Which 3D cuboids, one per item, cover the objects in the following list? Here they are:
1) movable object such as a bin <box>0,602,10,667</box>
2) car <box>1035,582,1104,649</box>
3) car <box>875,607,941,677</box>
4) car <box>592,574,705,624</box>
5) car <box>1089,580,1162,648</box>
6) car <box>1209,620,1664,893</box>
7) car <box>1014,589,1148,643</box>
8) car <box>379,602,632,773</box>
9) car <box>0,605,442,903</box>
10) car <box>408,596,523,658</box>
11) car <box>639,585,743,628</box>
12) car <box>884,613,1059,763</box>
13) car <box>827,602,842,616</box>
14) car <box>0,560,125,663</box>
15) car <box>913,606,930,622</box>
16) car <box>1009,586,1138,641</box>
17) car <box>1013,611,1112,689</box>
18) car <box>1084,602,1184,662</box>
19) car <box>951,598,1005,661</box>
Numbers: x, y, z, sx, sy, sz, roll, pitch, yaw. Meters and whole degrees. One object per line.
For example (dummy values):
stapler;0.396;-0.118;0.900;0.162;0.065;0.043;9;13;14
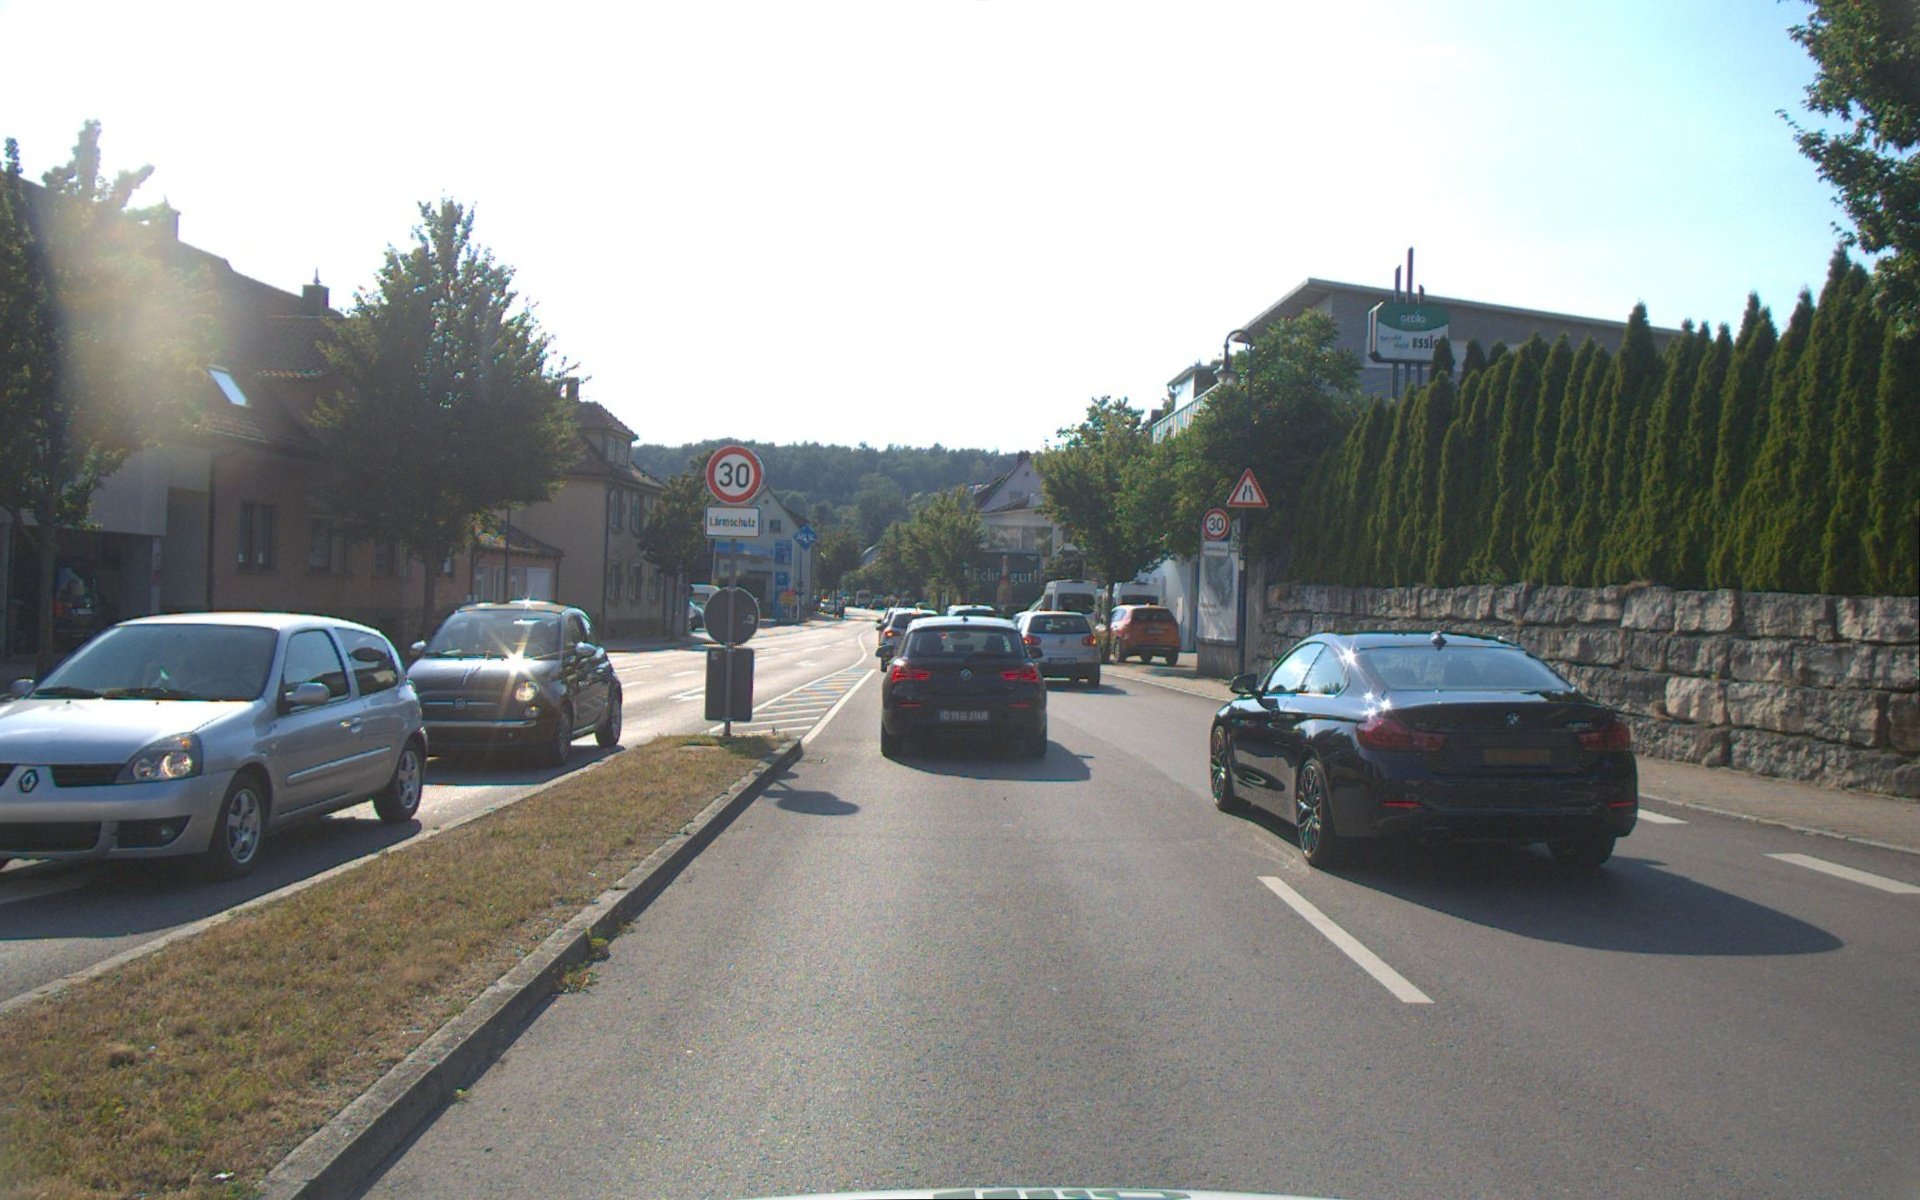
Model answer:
movable object such as a bin;-17.411;0.617;29.654;0.465;1.157;0.500;1;0;-1
car;4.660;0.611;71.241;2.107;2.727;6.598;1;0;-4
car;-1.339;1.018;41.512;1.560;1.628;3.891;1;0;-3
car;-17.322;-0.078;92.068;5.797;2.523;2.195;2;2;2
car;7.088;0.560;71.698;2.070;2.769;6.438;1;0;-4
car;2.894;0.866;11.047;1.665;1.393;4.260;0;0;-2
car;5.581;0.716;76.450;5.925;2.404;2.042;1;0;-5
car;-4.379;0.780;16.427;1.501;1.487;3.506;1;0;0
car;-4.502;0.771;9.918;1.556;1.452;3.578;0;-1;2
car;-13.508;0.729;45.395;1.631;1.513;4.002;4;0;4
car;-16.503;0.396;101.644;6.035;2.487;2.248;2;0;-2
car;0.080;0.884;18.192;1.736;1.482;3.514;0;0;-1
car;-13.701;0.950;180.247;1.565;1.511;3.472;2;0;-3
car;-18.952;0.170;32.853;3.742;1.914;1.779;3;-1;1
car;-3.878;1.407;167.856;1.565;1.511;3.472;2;0;-3
car;5.394;0.629;79.363;5.925;2.560;2.042;1;0;-5
car;2.028;0.979;33.643;1.718;1.439;3.421;1;0;-1
car;5.133;0.921;49.406;1.801;1.678;4.528;1;0;-10
car;0.524;0.856;49.963;1.570;1.798;3.410;1;0;0
